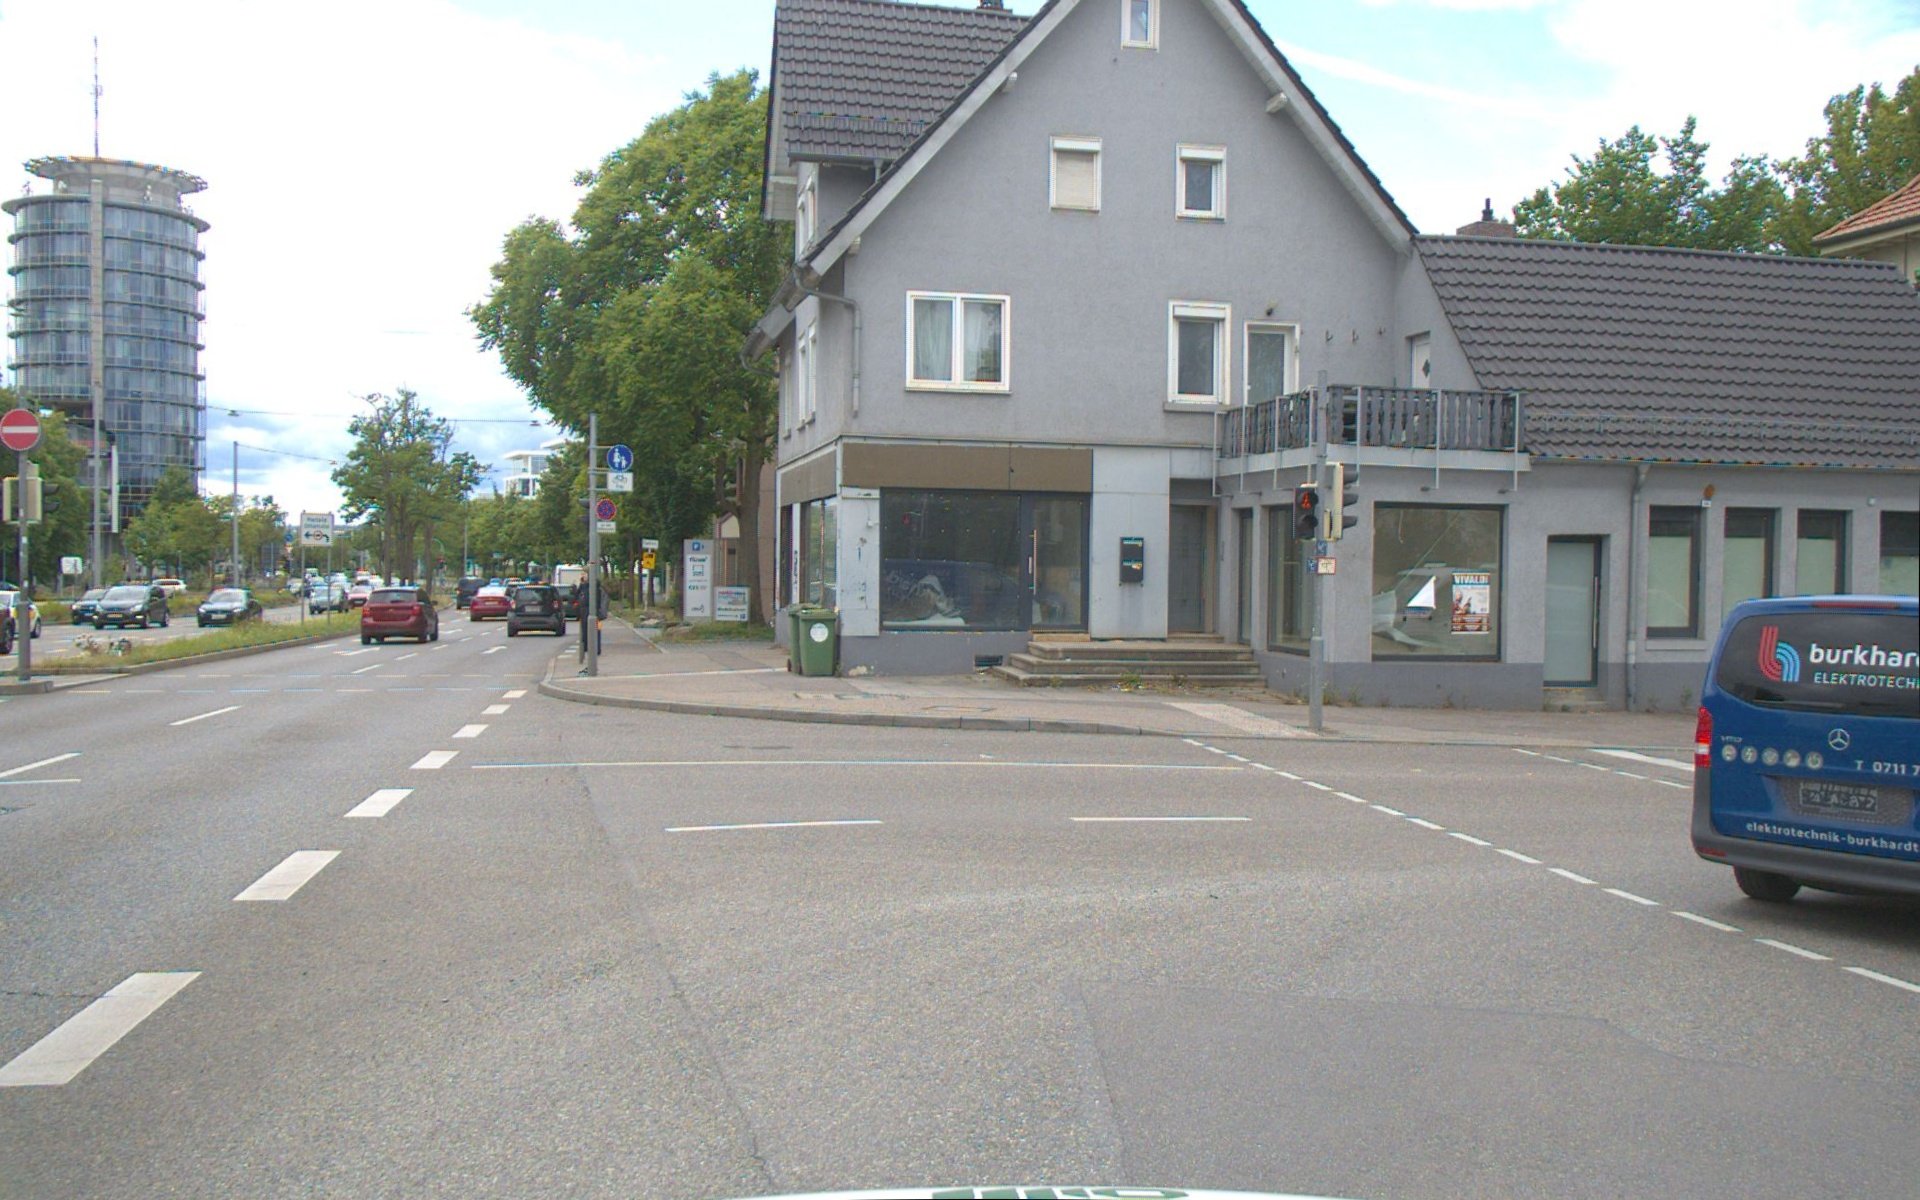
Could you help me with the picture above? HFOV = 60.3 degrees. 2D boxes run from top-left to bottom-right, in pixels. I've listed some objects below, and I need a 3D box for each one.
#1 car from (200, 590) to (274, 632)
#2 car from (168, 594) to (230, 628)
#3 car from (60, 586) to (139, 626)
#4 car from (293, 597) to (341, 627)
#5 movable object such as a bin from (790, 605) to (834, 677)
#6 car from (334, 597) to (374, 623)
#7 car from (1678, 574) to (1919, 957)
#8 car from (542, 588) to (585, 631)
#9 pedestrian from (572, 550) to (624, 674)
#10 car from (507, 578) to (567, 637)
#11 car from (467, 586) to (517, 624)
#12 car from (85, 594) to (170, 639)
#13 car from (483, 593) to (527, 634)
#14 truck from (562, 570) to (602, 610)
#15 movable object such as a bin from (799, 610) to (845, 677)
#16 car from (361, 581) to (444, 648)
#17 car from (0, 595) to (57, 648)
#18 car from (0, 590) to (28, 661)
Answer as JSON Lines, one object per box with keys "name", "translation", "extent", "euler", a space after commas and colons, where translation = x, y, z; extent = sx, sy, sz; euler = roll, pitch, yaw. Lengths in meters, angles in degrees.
{"name": "car", "translation": [-28.435, 0.427, 65.153], "extent": [1.959, 1.601, 3.986], "euler": [0, 0, -13]}
{"name": "car", "translation": [-36.422, 0.513, 79.251], "extent": [1.960, 1.601, 3.985], "euler": [0, 0, -14]}
{"name": "car", "translation": [-35.385, 0.246, 68.108], "extent": [1.959, 1.601, 3.986], "euler": [0, 0, -13]}
{"name": "car", "translation": [-35.704, 0.650, 91.905], "extent": [1.960, 1.601, 3.985], "euler": [0, 0, -14]}
{"name": "movable object such as a bin", "translation": [-2.335, 0.642, 26.053], "extent": [0.588, 1.120, 0.570], "euler": [0, 0, -19]}
{"name": "car", "translation": [-38.756, 0.619, 105.808], "extent": [1.960, 1.601, 3.985], "euler": [0, 0, -14]}
{"name": "car", "translation": [6.537, 0.904, 10.352], "extent": [4.497, 2.000, 1.927], "euler": [1, -1, -39]}
{"name": "car", "translation": [-16.864, 0.386, 70.451], "extent": [1.716, 1.754, 3.987], "euler": [0, 0, -13]}
{"name": "pedestrian", "translation": [-6.042, 0.198, 27.650], "extent": [0.756, 2.049, 0.876], "euler": [0, 0, -7]}
{"name": "car", "translation": [-13.022, 0.219, 51.013], "extent": [1.717, 1.754, 3.986], "euler": [0, 0, -14]}
{"name": "car", "translation": [-20.381, 0.256, 71.910], "extent": [1.840, 1.512, 3.977], "euler": [-1, -1, -19]}
{"name": "car", "translation": [-31.299, 0.600, 62.312], "extent": [1.959, 1.601, 3.986], "euler": [0, 0, -13]}
{"name": "car", "translation": [-24.357, 0.696, 88.449], "extent": [1.964, 2.049, 3.978], "euler": [2, 0, -20]}
{"name": "truck", "translation": [-22.154, -0.570, 97.154], "extent": [1.958, 2.203, 5.545], "euler": [2, -1, -11]}
{"name": "movable object such as a bin", "translation": [-2.127, 0.660, 25.487], "extent": [0.588, 1.004, 0.570], "euler": [0, 0, -19]}
{"name": "car", "translation": [-15.213, 0.375, 45.301], "extent": [1.716, 1.754, 3.988], "euler": [0, 0, -12]}
{"name": "car", "translation": [-28.601, 0.612, 49.338], "extent": [1.961, 1.533, 4.472], "euler": [1, 0, -16]}
{"name": "car", "translation": [-21.754, 0.553, 35.564], "extent": [1.960, 1.542, 3.985], "euler": [0, 0, -14]}
